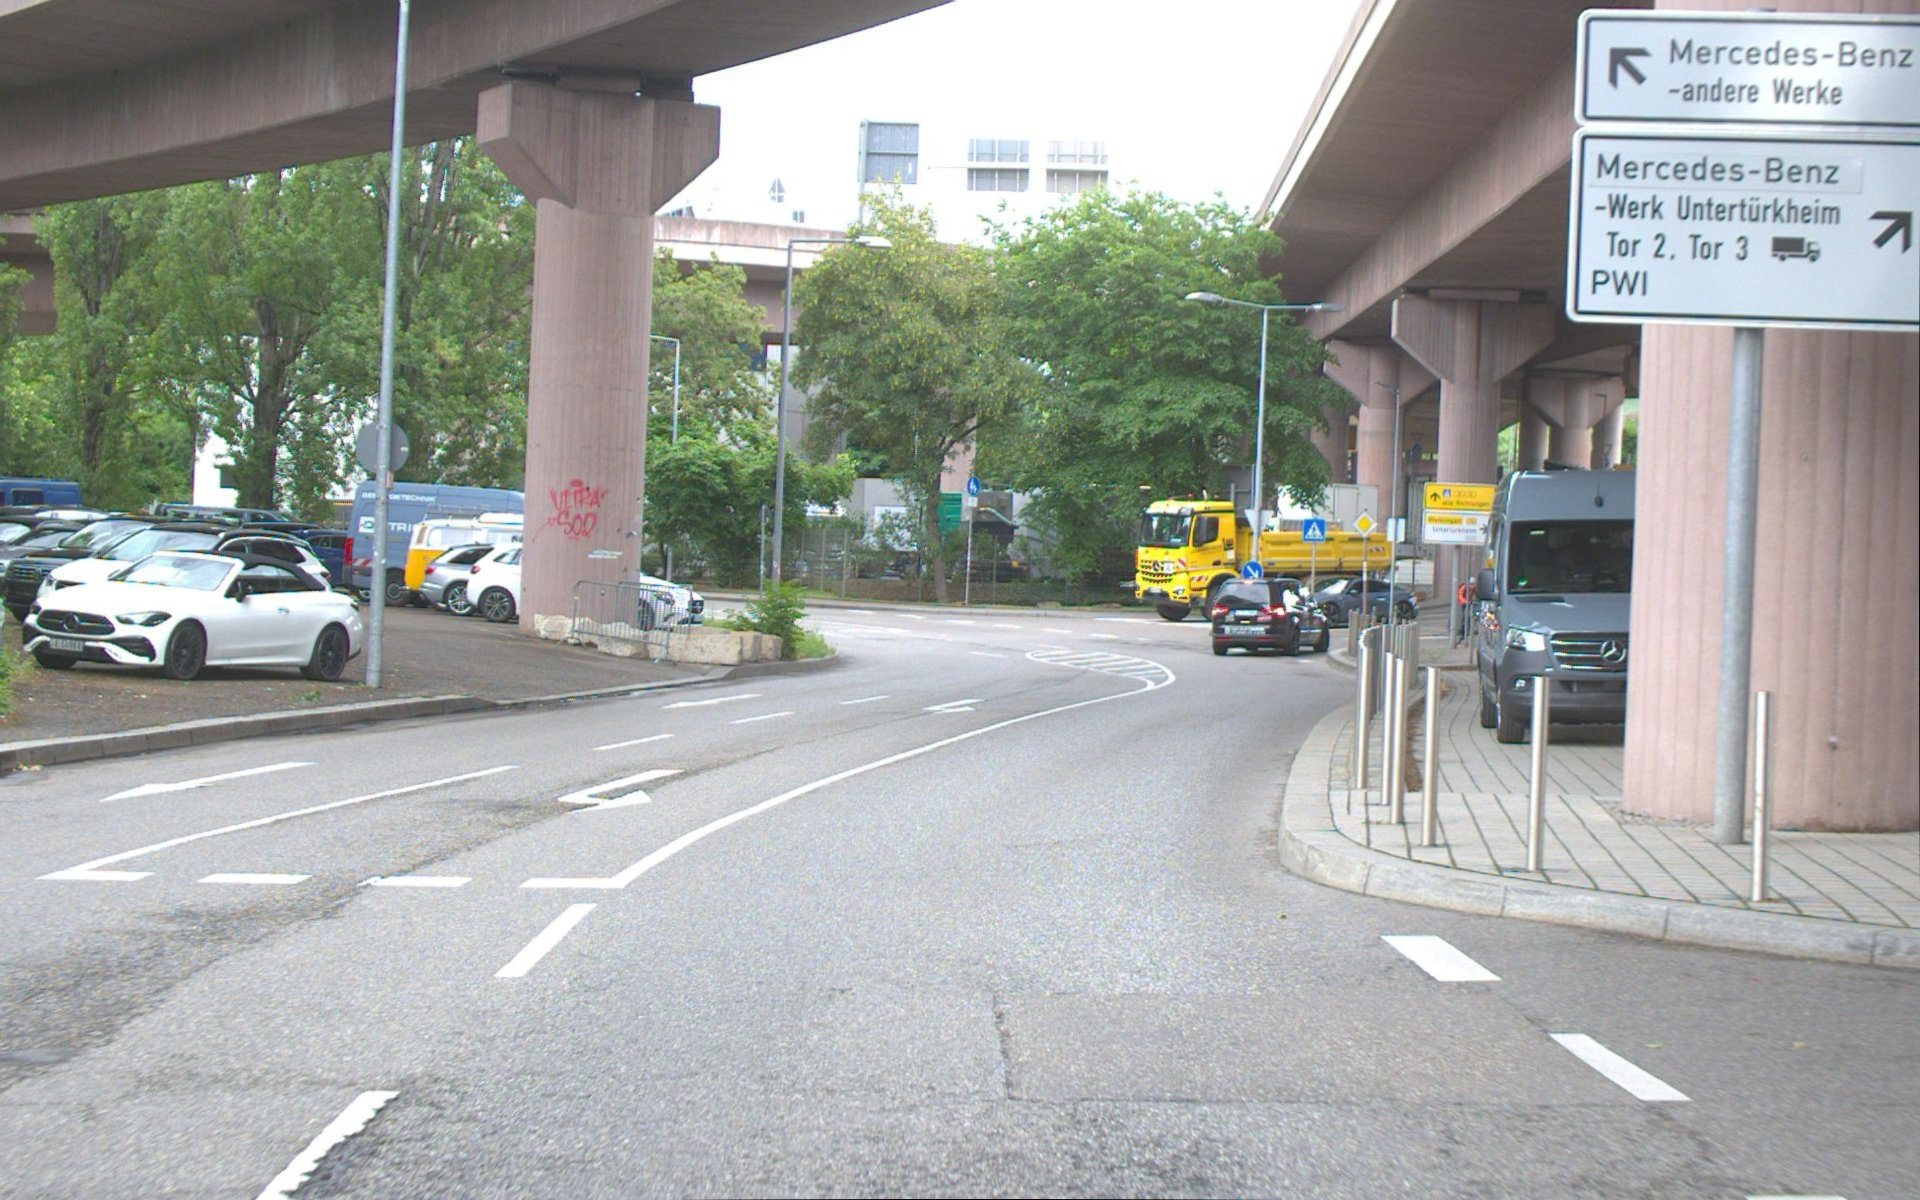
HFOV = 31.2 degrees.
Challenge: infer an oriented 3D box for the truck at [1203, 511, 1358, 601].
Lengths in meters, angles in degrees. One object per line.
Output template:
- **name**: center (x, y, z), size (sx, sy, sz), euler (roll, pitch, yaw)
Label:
- **truck**: center (11.128, -1.583, 120.076), size (2.914, 2.889, 6.561), euler (0, 3, -19)

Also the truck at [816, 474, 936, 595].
- **truck**: center (-3.525, -2.771, 142.229), size (3.202, 4.763, 8.051), euler (1, 2, -14)

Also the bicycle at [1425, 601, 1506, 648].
- **bicycle**: center (12.196, 0.577, 82.976), size (0.802, 1.094, 2.131), euler (0, 1, -28)

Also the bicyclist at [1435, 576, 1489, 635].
- **bicyclist**: center (12.135, 0.126, 83.088), size (0.796, 1.400, 1.067), euler (0, 0, -28)

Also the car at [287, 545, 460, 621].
- **car**: center (-13.868, -0.408, 81.412), size (3.986, 1.734, 2.022), euler (0, 0, -9)

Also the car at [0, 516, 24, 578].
- **car**: center (-23.817, -1.239, 78.815), size (1.996, 1.430, 4.639), euler (1, 1, 26)

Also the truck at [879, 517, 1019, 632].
- **truck**: center (-0.444, -0.919, 122.375), size (3.064, 3.950, 6.925), euler (0, 0, -17)

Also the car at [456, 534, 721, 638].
- **car**: center (-6.874, -0.269, 63.773), size (4.384, 1.600, 1.953), euler (4, 1, 15)

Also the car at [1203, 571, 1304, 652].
- **car**: center (6.598, 0.230, 76.830), size (1.994, 1.673, 4.559), euler (2, 1, 7)

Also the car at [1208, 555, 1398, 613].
- **car**: center (9.374, -0.420, 93.760), size (4.917, 1.496, 2.173), euler (0, 1, -36)

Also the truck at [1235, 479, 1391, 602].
- **truck**: center (12.990, -2.250, 127.293), size (3.064, 4.285, 8.051), euler (1, 2, -14)

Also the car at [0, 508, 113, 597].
- **car**: center (-18.429, -0.919, 66.032), size (1.898, 1.670, 4.148), euler (1, 1, 28)

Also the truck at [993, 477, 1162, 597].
- **truck**: center (3.947, -2.211, 117.689), size (3.065, 3.854, 8.051), euler (0, 3, -19)

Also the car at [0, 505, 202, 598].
- **car**: center (-15.552, -0.847, 59.975), size (1.860, 1.482, 4.882), euler (5, 2, 26)

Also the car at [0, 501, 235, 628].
- **car**: center (-12.492, -0.501, 49.373), size (1.859, 1.685, 4.158), euler (3, 0, 26)

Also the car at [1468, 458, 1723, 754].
- **car**: center (6.094, 0.014, 33.602), size (1.994, 2.604, 6.073), euler (1, 1, 7)

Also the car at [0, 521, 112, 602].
- **car**: center (-17.211, -0.702, 62.598), size (1.645, 1.436, 3.731), euler (1, 1, 20)

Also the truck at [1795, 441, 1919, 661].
- **truck**: center (23.444, -1.071, 80.996), size (3.146, 4.901, 8.694), euler (2, 1, 45)

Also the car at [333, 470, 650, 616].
- **car**: center (-9.820, -1.199, 72.392), size (6.176, 2.715, 2.368), euler (3, 1, 3)

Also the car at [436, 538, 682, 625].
- **car**: center (-7.770, -0.369, 66.756), size (4.247, 1.366, 1.999), euler (4, 1, 13)

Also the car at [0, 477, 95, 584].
- **car**: center (-20.940, -1.487, 73.511), size (2.120, 2.247, 5.012), euler (1, 1, 23)

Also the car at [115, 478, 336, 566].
- **car**: center (-18.980, -2.011, 88.985), size (5.091, 2.065, 2.259), euler (2, -1, 6)

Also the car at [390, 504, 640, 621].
- **car**: center (-8.967, -0.762, 69.395), size (4.558, 2.104, 1.850), euler (3, 1, 11)

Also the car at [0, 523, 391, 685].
- **car**: center (-8.695, 0.089, 39.191), size (1.996, 1.475, 4.822), euler (6, 0, 22)

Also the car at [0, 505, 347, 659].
- **car**: center (-9.829, -0.186, 43.092), size (1.996, 1.577, 4.394), euler (6, 1, 23)

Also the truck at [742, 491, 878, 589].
- **truck**: center (-6.113, -2.453, 138.706), size (3.054, 3.606, 7.918), euler (1, 3, -21)

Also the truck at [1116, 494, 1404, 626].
- **truck**: center (8.658, -1.199, 98.648), size (8.219, 3.469, 2.936), euler (-1, 5, -37)
